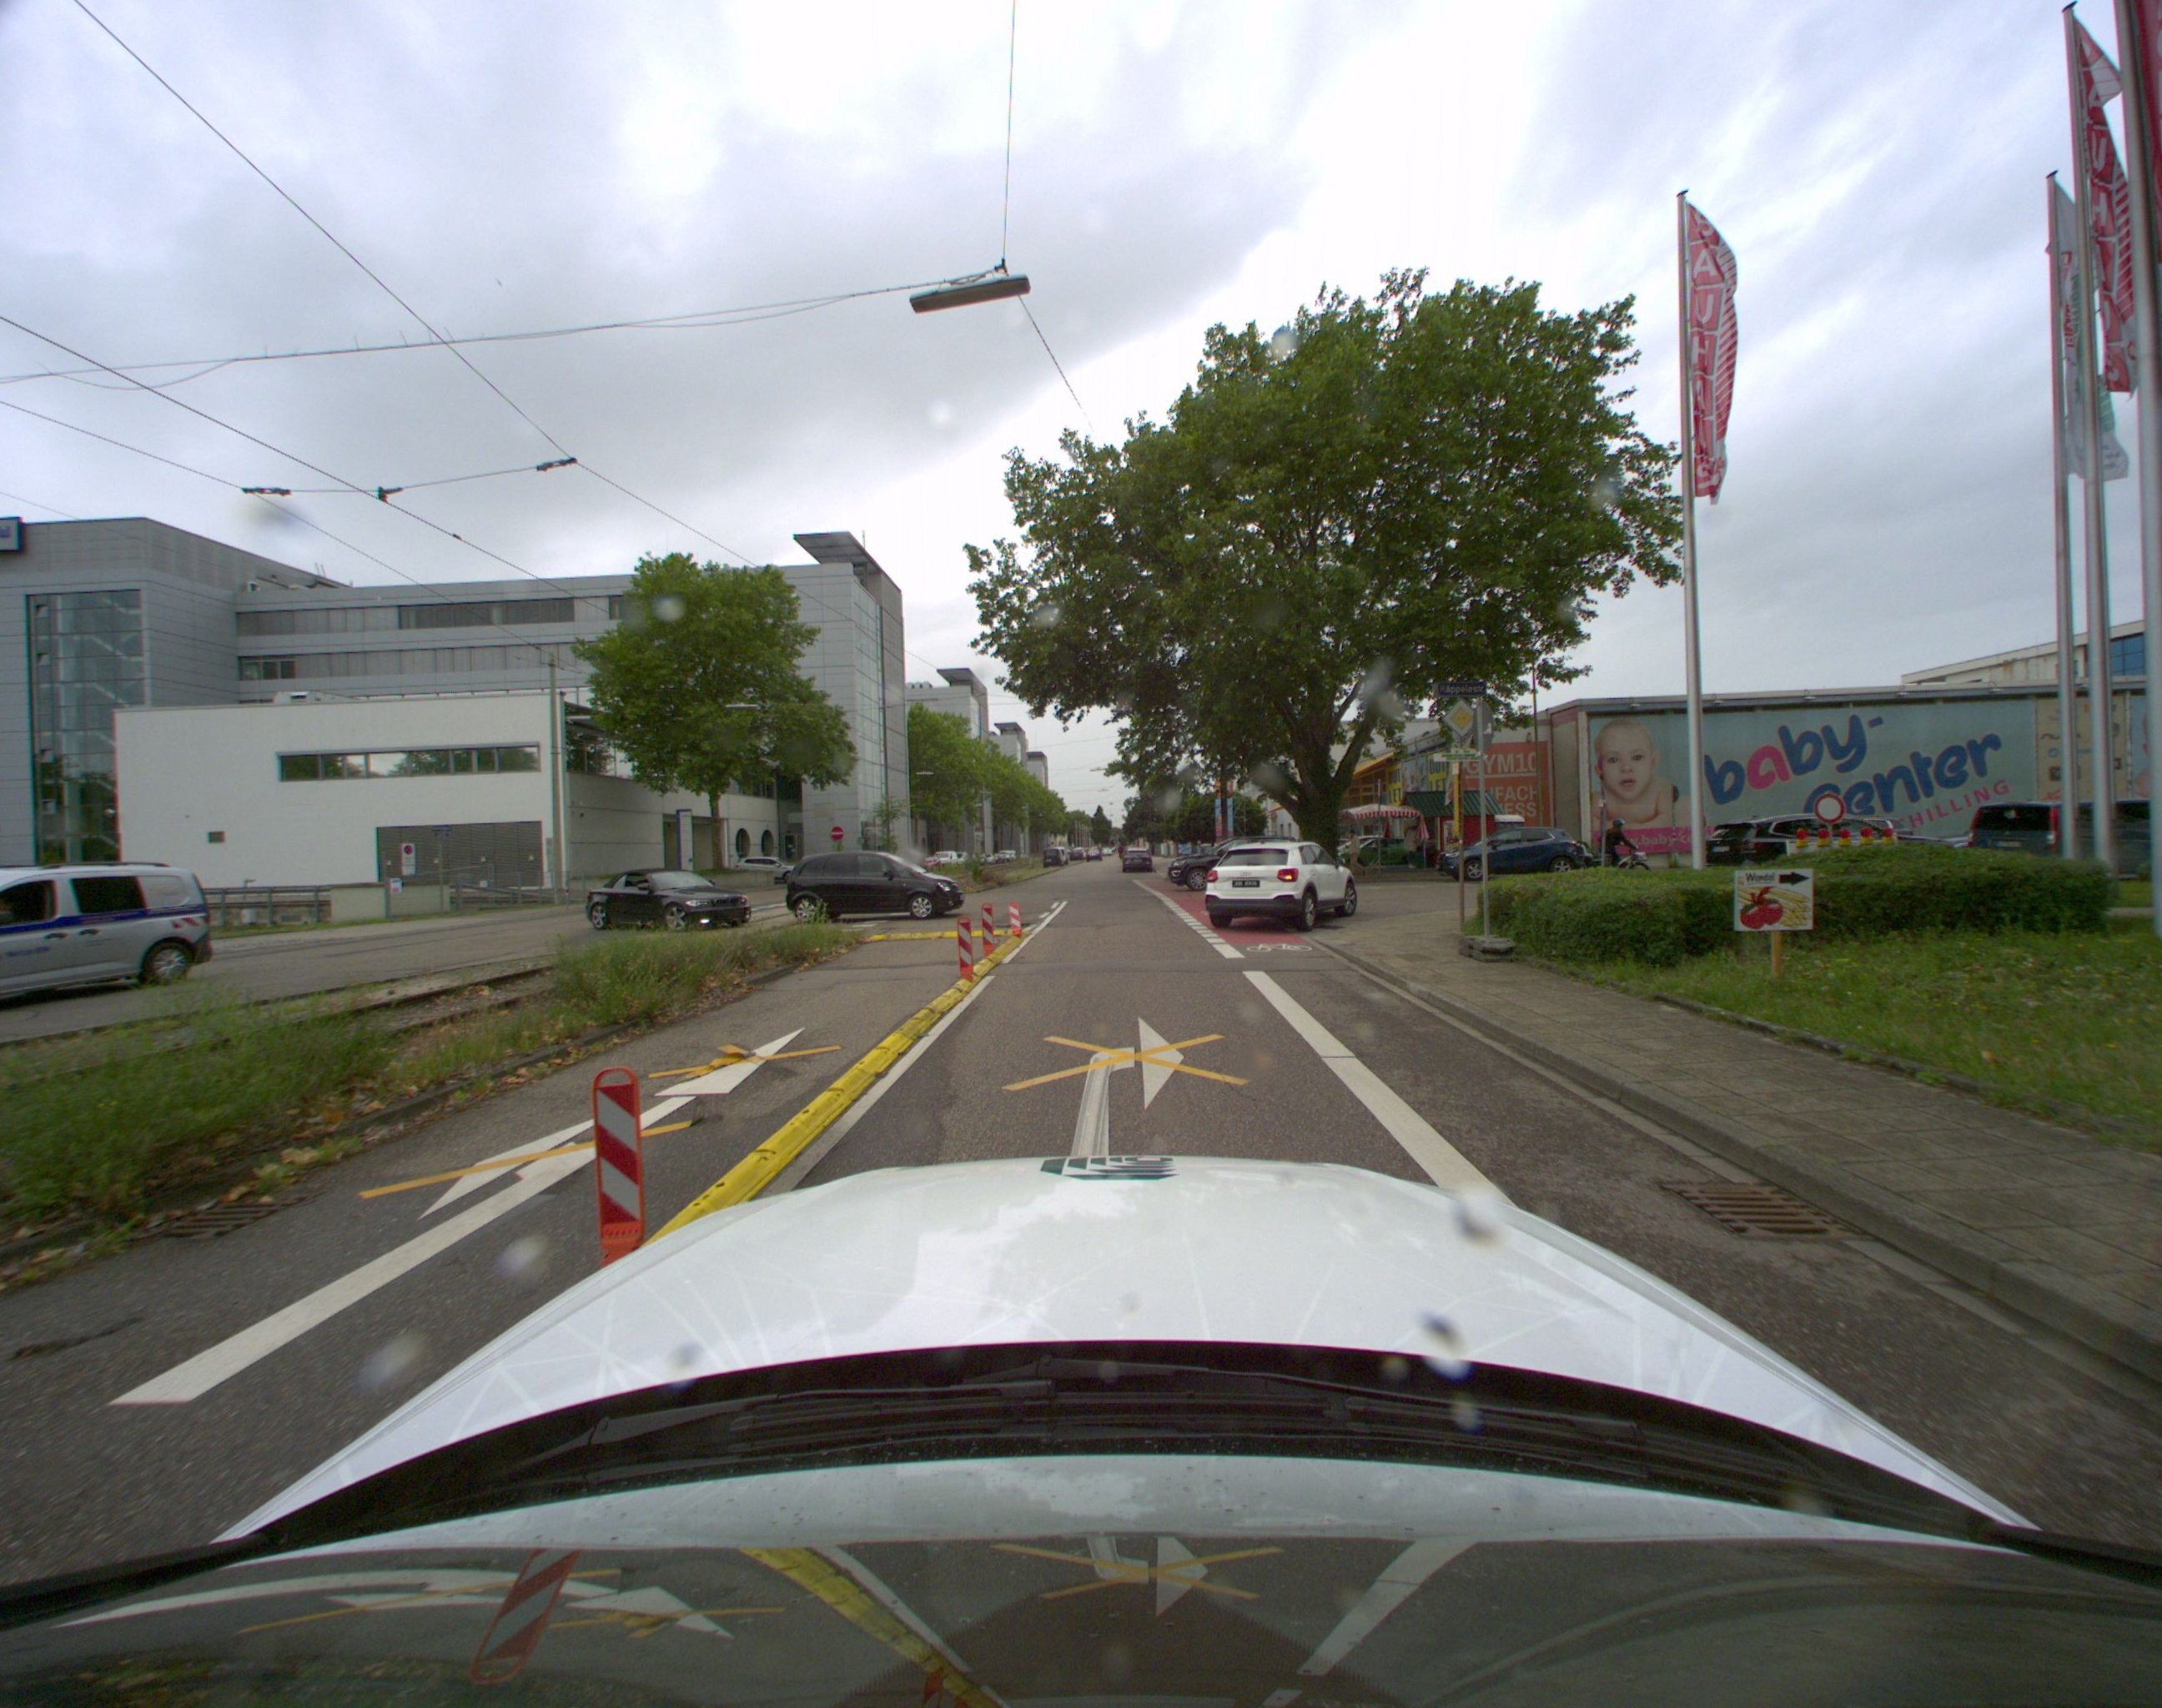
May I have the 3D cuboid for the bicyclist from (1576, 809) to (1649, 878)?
[{"bbox_3d":[13.220,-0.253,20.271,1.229,1.630,0.817,-2,0,-6],"label":"bicyclist"}]

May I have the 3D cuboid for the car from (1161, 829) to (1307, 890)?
[{"bbox_3d":[4.754,0.161,25.827,4.296,1.677,1.994,-2,0,3],"label":"car"}]

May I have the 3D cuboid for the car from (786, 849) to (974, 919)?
[{"bbox_3d":[-4.599,0.669,18.999,3.867,1.556,1.826,0,0,2],"label":"car"}]

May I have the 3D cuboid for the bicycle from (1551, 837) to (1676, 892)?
[{"bbox_3d":[13.244,0.245,20.274,2.671,1.212,0.817,-2,0,-7],"label":"bicycle"}]

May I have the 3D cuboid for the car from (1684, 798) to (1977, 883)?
[{"bbox_3d":[16.396,-0.281,18.033,4.534,1.572,1.994,-2,0,3],"label":"car"}]

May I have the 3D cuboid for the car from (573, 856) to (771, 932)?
[{"bbox_3d":[-9.305,0.911,18.513,4.079,1.475,1.836,-4,-2,25],"label":"car"}]

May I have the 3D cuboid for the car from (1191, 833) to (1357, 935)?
[{"bbox_3d":[3.712,0.445,15.161,1.806,1.600,3.800,0,2,33],"label":"car"}]

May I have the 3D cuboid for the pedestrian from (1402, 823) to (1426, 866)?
[{"bbox_3d":[13.289,-0.380,32.497,0.677,1.704,0.598,-3,0,1],"label":"pedestrian"}]

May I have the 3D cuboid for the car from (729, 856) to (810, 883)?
[{"bbox_3d":[-19.929,1.000,52.204,4.497,1.670,1.825,0,0,0],"label":"car"}]

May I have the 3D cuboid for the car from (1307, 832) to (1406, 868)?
[{"bbox_3d":[13.440,-0.188,39.899,4.199,1.551,1.790,-2,0,0],"label":"car"}]

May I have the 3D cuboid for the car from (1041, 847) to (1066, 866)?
[{"bbox_3d":[-2.467,0.216,73.780,1.870,1.632,4.002,-3,0,2],"label":"car"}]

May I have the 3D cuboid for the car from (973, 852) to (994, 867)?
[{"bbox_3d":[-11.727,0.613,98.077,1.870,1.632,4.207,-3,0,2],"label":"car"}]

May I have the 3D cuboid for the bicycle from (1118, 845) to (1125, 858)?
[{"bbox_3d":[4.541,-0.262,91.301,0.668,1.393,2.167,-1,1,0],"label":"bicycle"}]

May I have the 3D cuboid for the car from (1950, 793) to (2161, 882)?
[{"bbox_3d":[22.818,-0.407,18.166,4.534,1.790,2.075,-2,1,3],"label":"car"}]

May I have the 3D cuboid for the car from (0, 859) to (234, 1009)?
[{"bbox_3d":[-13.885,1.002,10.327,1.817,1.783,4.418,-2,0,-5],"label":"car"}]

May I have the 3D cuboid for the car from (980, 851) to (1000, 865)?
[{"bbox_3d":[-11.556,0.489,103.368,1.870,1.632,4.207,-3,0,2],"label":"car"}]

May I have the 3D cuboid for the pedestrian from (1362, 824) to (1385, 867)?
[{"bbox_3d":[11.873,-0.344,33.090,0.677,1.704,0.598,-3,0,1],"label":"pedestrian"}]

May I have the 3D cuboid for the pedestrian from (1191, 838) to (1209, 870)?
[{"bbox_3d":[6.460,-0.003,44.308,0.758,1.704,0.681,-3,0,-2],"label":"pedestrian"}]

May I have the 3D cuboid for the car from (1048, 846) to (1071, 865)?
[{"bbox_3d":[-2.091,0.142,79.590,1.870,1.763,4.002,-3,0,2],"label":"car"}]

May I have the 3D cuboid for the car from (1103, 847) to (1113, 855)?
[{"bbox_3d":[4.989,-0.532,151.158,1.789,1.513,3.706,-1,1,0],"label":"car"}]

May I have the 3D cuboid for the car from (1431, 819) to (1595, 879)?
[{"bbox_3d":[13.681,-0.144,26.062,4.186,1.677,1.998,-2,0,10],"label":"car"}]

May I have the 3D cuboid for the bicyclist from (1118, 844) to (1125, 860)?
[{"bbox_3d":[4.540,-0.262,91.446,0.668,1.815,0.760,-1,1,0],"label":"bicyclist"}]

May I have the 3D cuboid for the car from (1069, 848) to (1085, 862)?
[{"bbox_3d":[-0.512,0.126,107.974,1.870,1.763,4.002,-3,0,2],"label":"car"}]

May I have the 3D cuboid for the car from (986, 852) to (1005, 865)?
[{"bbox_3d":[-11.373,0.615,108.326,1.870,1.632,4.207,-3,0,2],"label":"car"}]

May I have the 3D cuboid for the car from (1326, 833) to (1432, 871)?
[{"bbox_3d":[13.752,-0.087,37.737,4.199,1.551,1.790,-2,0,0],"label":"car"}]

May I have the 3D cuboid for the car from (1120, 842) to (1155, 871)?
[{"bbox_3d":[3.415,0.147,49.760,1.870,1.632,4.002,-3,0,2],"label":"car"}]

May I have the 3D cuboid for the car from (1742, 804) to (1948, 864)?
[{"bbox_3d":[24.690,-0.627,26.491,4.530,1.677,2.085,-2,0,6],"label":"car"}]

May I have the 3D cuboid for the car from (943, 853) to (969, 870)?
[{"bbox_3d":[-12.997,0.728,84.651,1.870,1.632,4.207,-3,0,2],"label":"car"}]

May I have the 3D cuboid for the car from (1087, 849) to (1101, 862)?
[{"bbox_3d":[1.517,0.149,97.659,1.678,1.513,3.706,-1,1,0],"label":"car"}]

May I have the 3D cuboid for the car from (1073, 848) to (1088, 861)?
[{"bbox_3d":[-0.052,0.044,113.177,1.870,1.763,4.002,-3,0,2],"label":"car"}]

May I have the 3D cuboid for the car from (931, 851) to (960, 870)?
[{"bbox_3d":[-13.158,0.607,79.377,1.870,1.632,4.207,-3,0,2],"label":"car"}]

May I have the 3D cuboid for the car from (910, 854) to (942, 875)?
[{"bbox_3d":[-13.753,0.918,72.472,1.870,1.632,4.002,-3,0,2],"label":"car"}]
